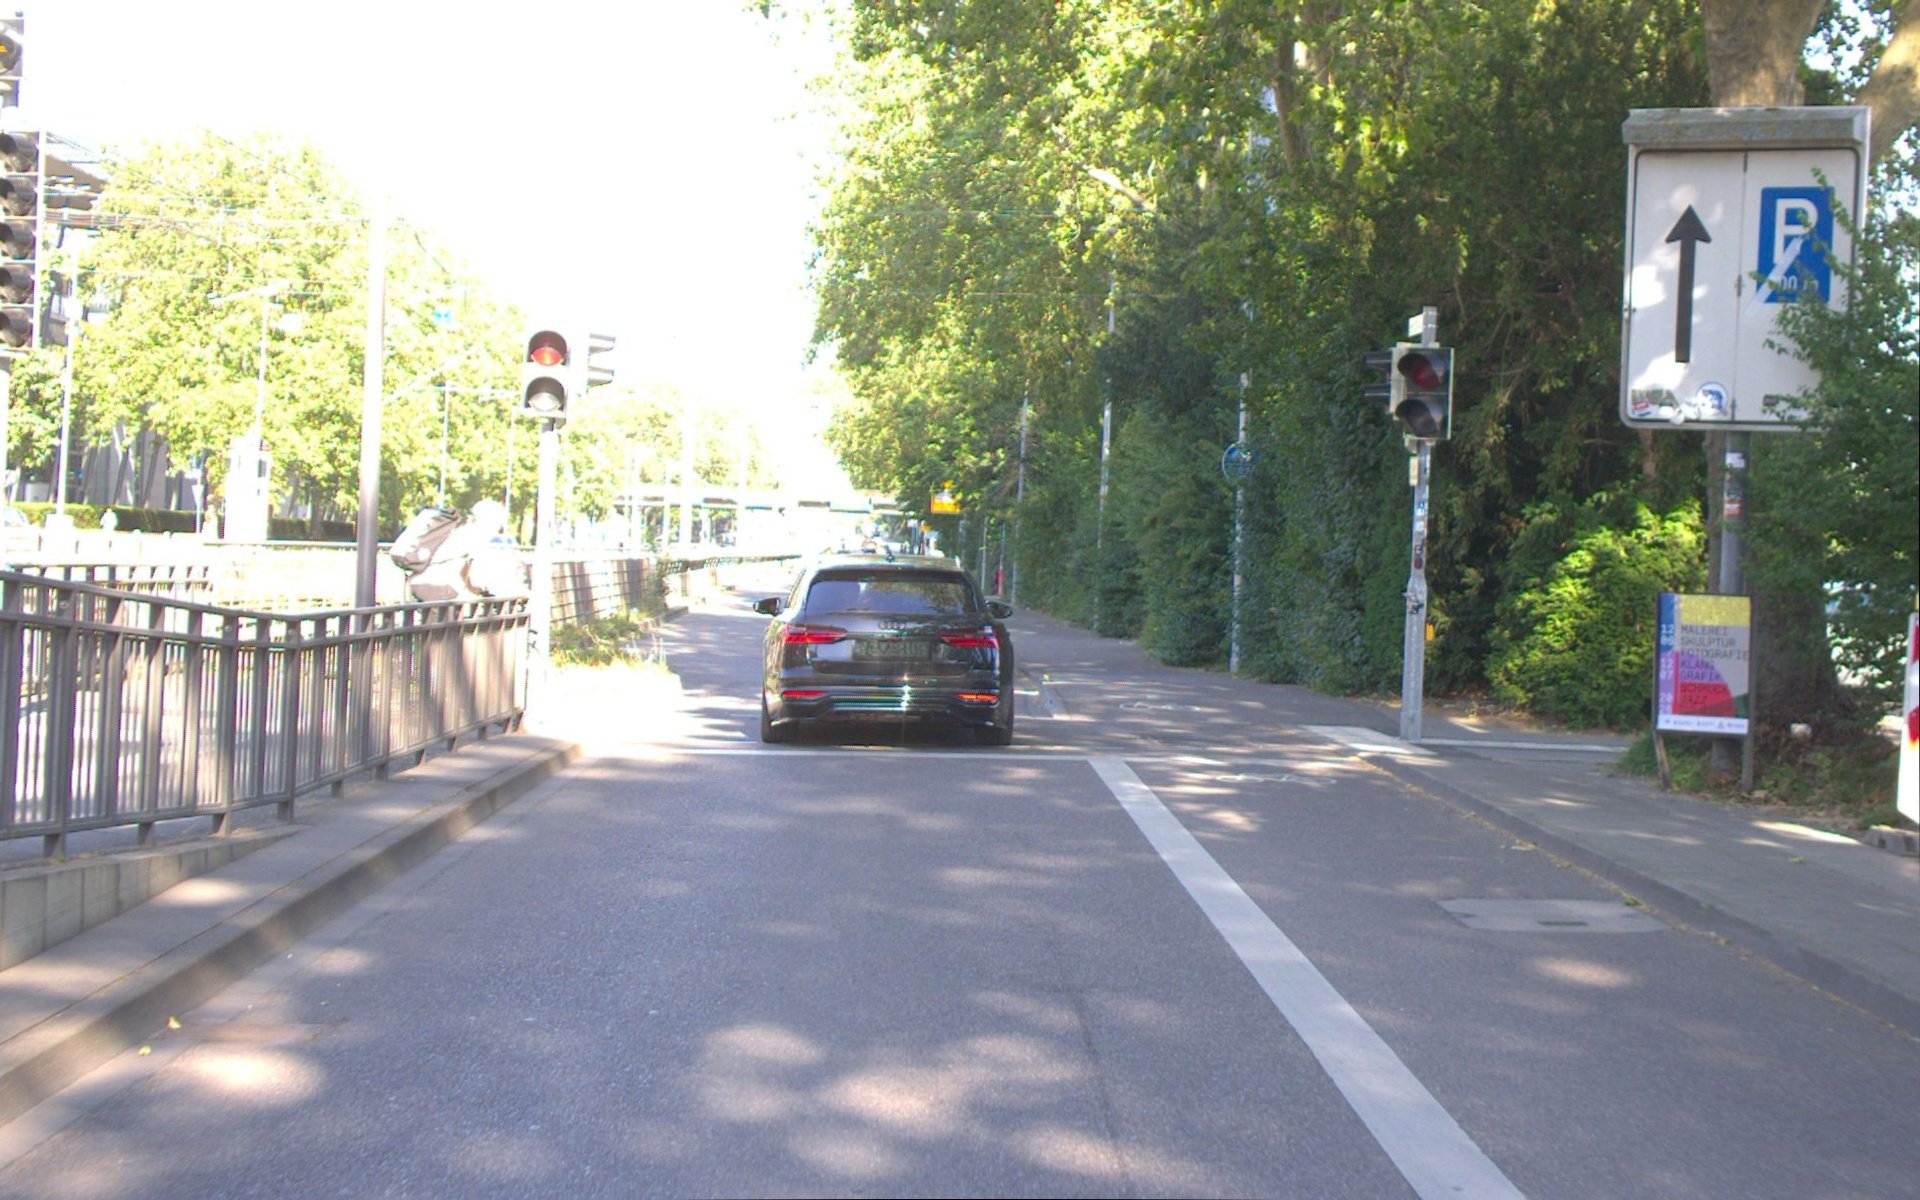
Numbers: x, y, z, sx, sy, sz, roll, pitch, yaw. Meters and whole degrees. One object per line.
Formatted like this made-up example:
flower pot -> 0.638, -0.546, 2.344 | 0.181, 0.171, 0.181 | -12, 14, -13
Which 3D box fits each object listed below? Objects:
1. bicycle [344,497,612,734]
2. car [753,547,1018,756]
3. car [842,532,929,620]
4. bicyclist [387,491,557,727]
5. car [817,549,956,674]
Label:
bicycle -> -3.603, 0.128, 25.827 | 0.591, 1.711, 1.968 | 3, 1, 44
car -> -0.633, 0.344, 26.341 | 1.878, 1.452, 3.357 | 1, 1, -4
car -> -1.810, -0.617, 83.741 | 1.993, 2.007, 4.000 | 2, 1, -1
bicyclist -> -3.653, 0.067, 25.753 | 0.770, 1.711, 0.907 | 3, 1, 44
car -> -1.091, 0.128, 49.194 | 1.762, 1.613, 4.001 | 2, 1, -3
